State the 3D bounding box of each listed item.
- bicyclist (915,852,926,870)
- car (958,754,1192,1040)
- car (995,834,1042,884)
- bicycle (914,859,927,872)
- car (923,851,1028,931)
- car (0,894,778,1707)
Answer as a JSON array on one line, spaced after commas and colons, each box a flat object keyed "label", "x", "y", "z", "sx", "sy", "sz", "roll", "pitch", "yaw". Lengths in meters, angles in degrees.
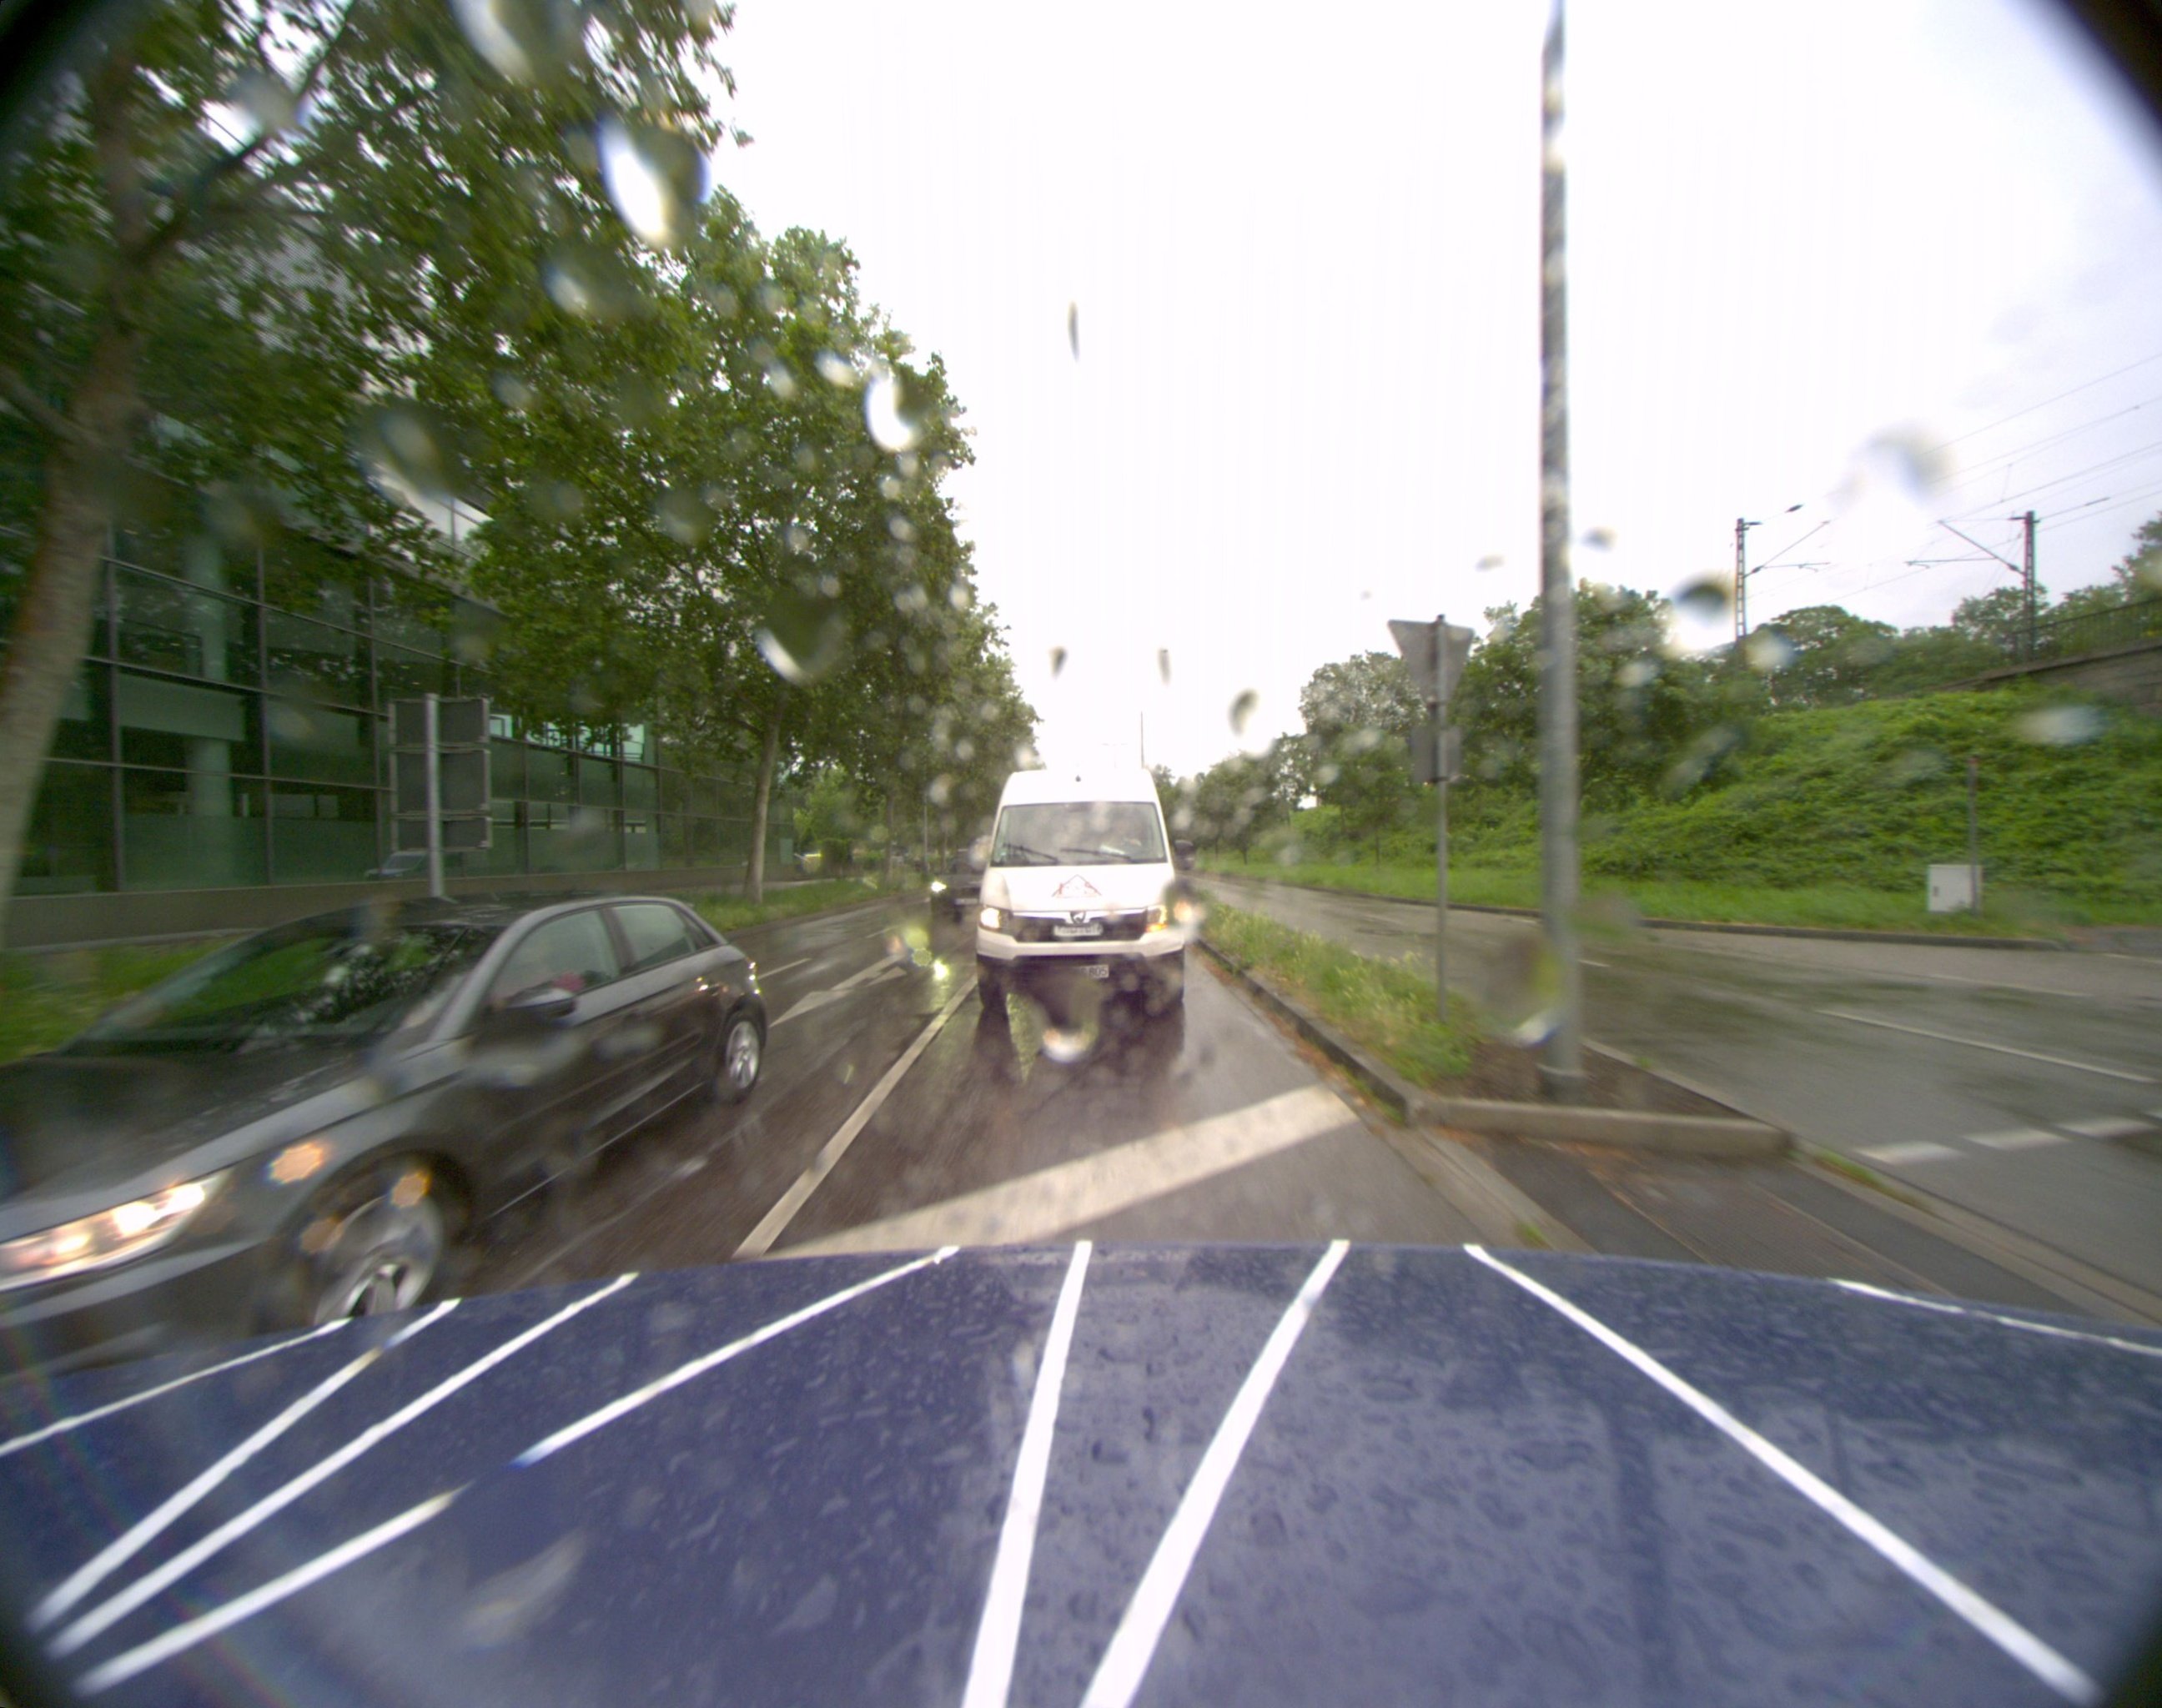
[{"label": "bicyclist", "x": -14.369, "y": 0.632, "z": 68.146, "sx": 0.807, "sy": 1.507, "sz": 0.752, "roll": 2, "pitch": 2, "yaw": -3}, {"label": "car", "x": 0.054, "y": 0.350, "z": 9.438, "sx": 1.968, "sy": 2.419, "sz": 5.961, "roll": -1, "pitch": 1, "yaw": 2}, {"label": "car", "x": -3.174, "y": 0.206, "z": 39.403, "sx": 1.998, "sy": 2.416, "sz": 4.977, "roll": -1, "pitch": 1, "yaw": 0}, {"label": "bicycle", "x": -14.394, "y": 1.034, "z": 68.175, "sx": 0.745, "sy": 1.098, "sz": 2.076, "roll": 1, "pitch": 1, "yaw": -2}, {"label": "car", "x": -2.479, "y": 0.804, "z": 18.984, "sx": 1.998, "sy": 1.738, "sz": 4.327, "roll": 0, "pitch": 1, "yaw": 0}, {"label": "car", "x": -3.031, "y": 1.020, "z": 3.306, "sx": 1.841, "sy": 1.390, "sz": 3.753, "roll": -2, "pitch": 1, "yaw": 0}]
